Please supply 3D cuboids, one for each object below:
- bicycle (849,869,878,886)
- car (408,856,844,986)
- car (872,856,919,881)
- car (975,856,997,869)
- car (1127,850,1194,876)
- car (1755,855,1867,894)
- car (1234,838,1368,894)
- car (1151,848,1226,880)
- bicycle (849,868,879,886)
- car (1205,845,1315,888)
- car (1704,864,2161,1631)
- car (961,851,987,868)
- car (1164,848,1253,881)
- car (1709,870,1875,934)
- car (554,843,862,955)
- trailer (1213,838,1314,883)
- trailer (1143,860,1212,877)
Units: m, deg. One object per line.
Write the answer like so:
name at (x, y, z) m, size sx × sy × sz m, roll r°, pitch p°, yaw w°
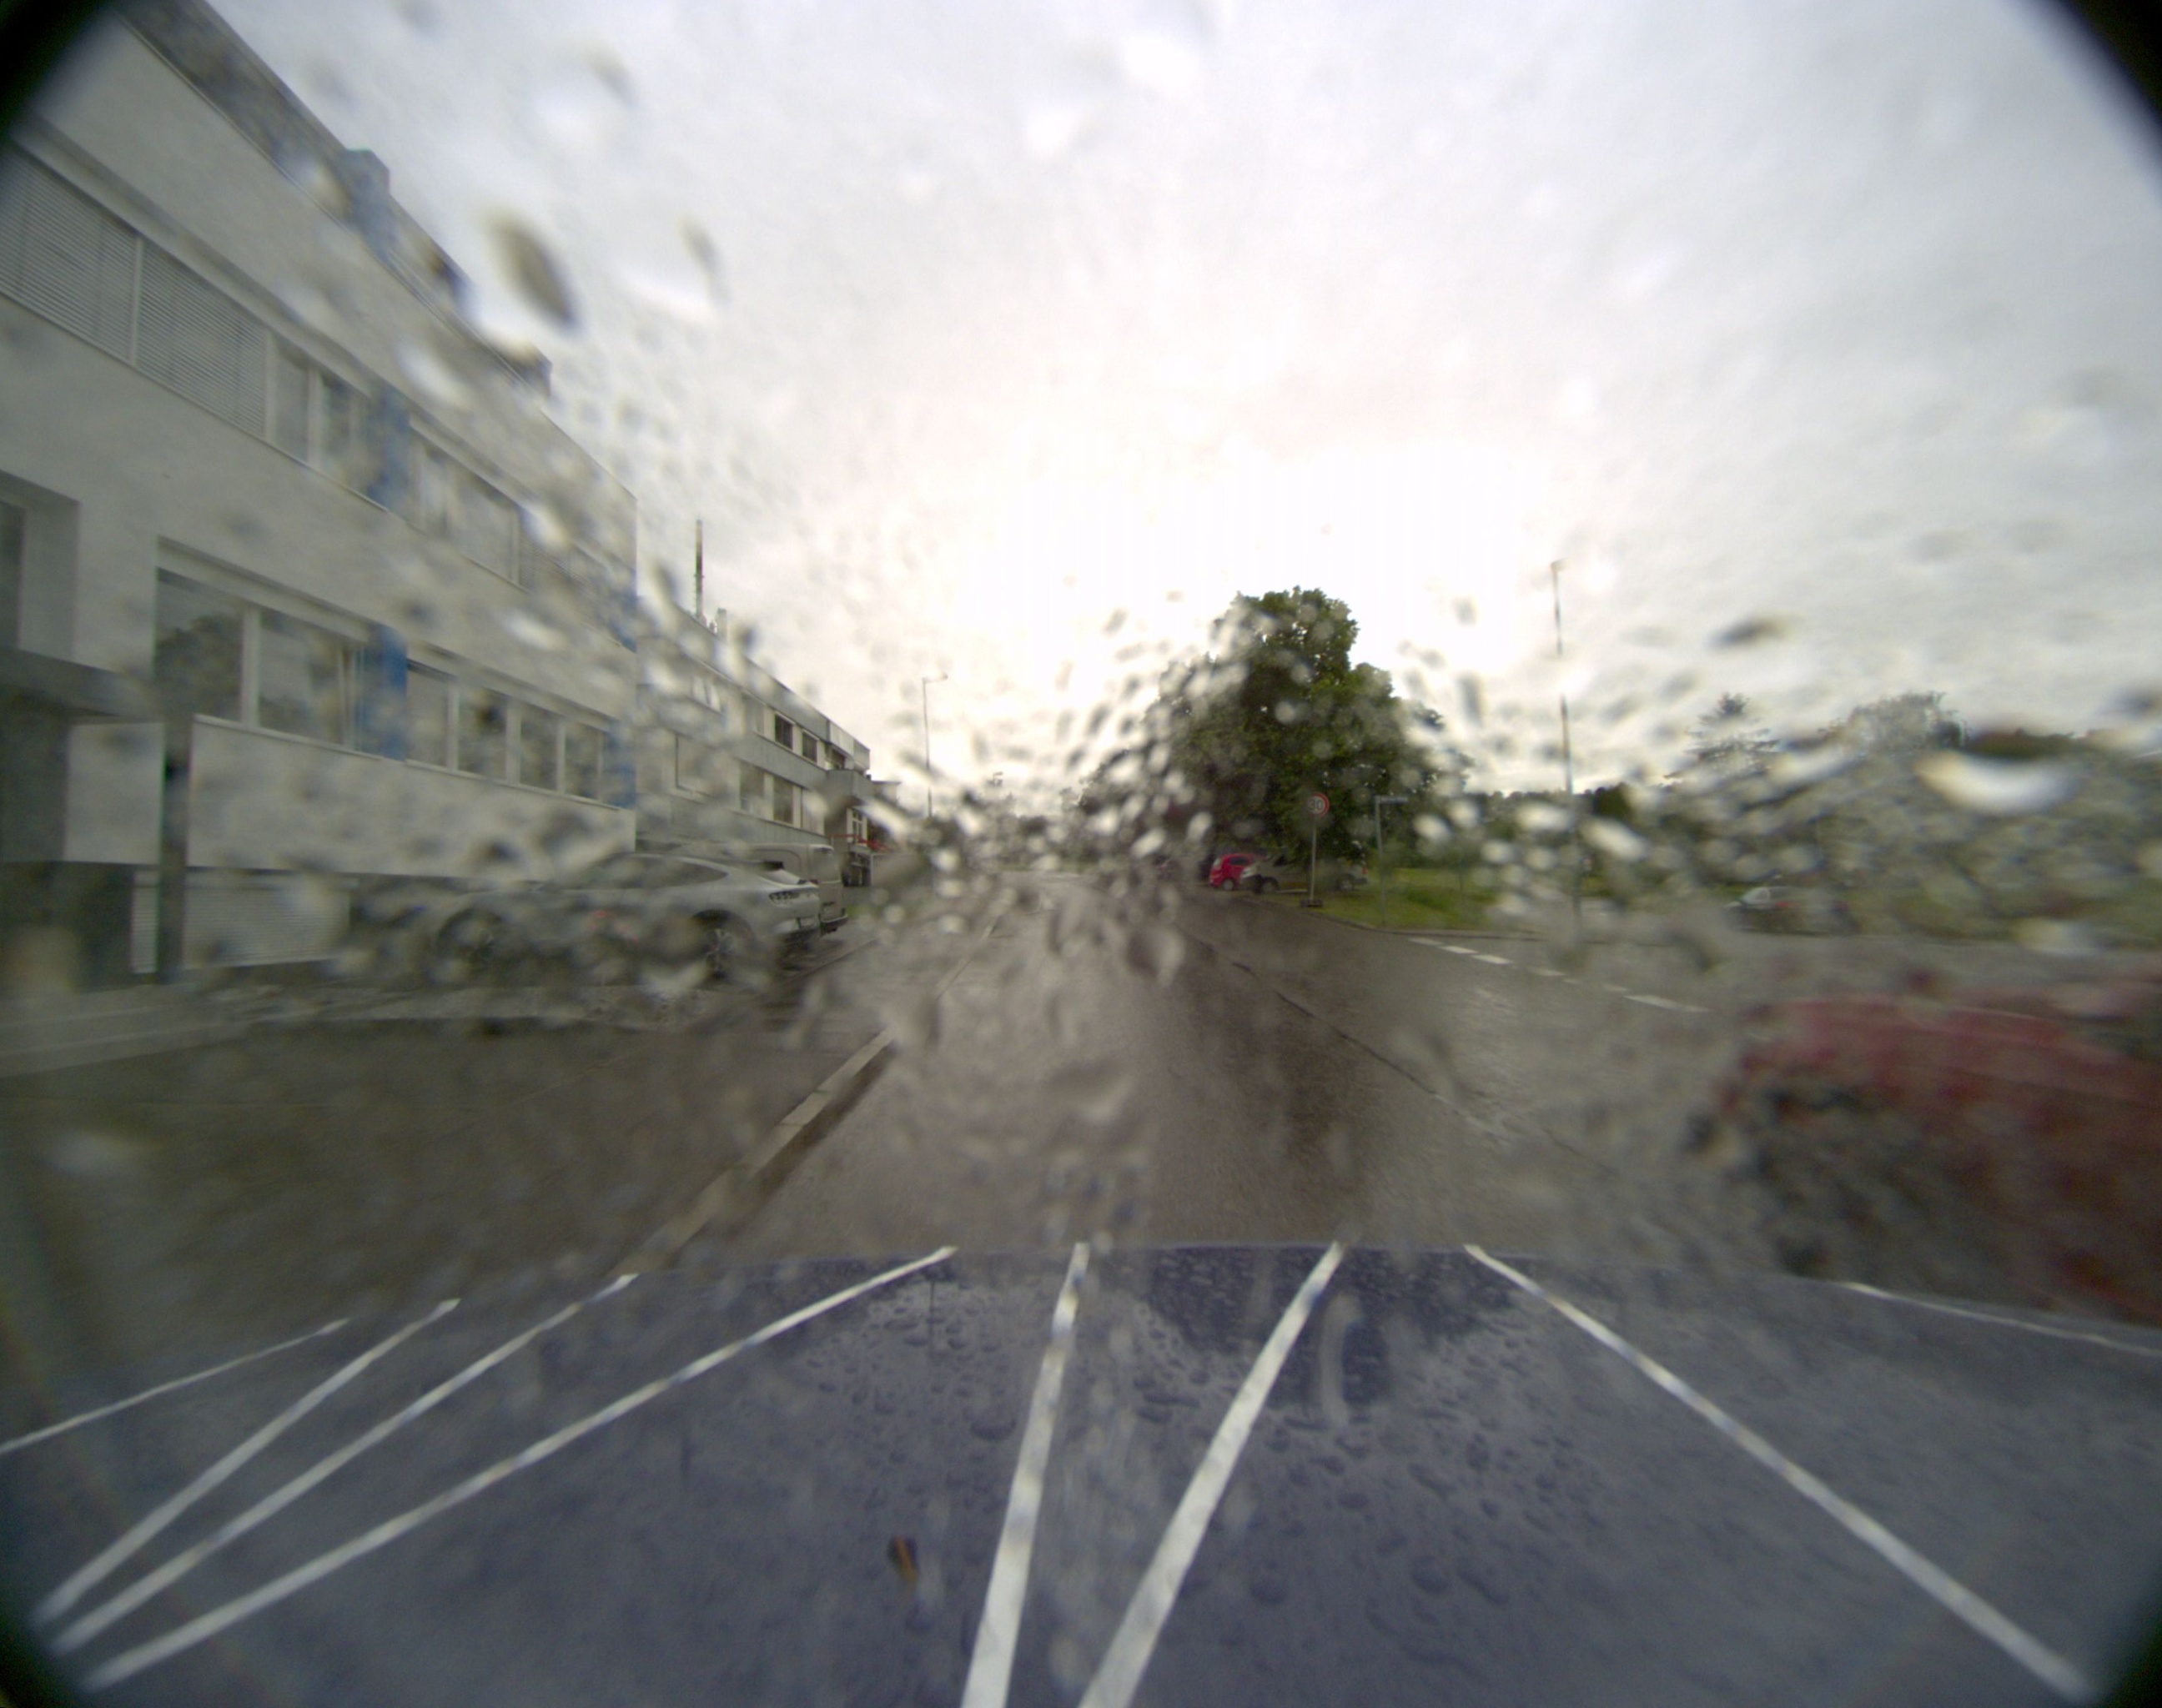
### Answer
bicycle at (-11.556, 1.245, 40.385) m, size 1.423 × 0.825 × 0.285 m, roll -1°, pitch 1°, yaw -24°
car at (-5.829, 0.824, 10.252) m, size 4.609 × 1.529 × 2.079 m, roll 1°, pitch 0°, yaw -1°
car at (-13.826, 1.014, 56.490) m, size 1.862 × 1.576 × 4.313 m, roll -1°, pitch 3°, yaw -36°
car at (-12.690, 1.117, 101.535) m, size 1.819 × 1.717 × 4.643 m, roll -1°, pitch 1°, yaw -21°
car at (5.566, 0.597, 53.446) m, size 4.381 × 1.712 × 2.043 m, roll -1°, pitch 1°, yaw -7°
car at (44.223, 1.219, 46.169) m, size 4.493 × 2.207 × 1.933 m, roll 1°, pitch 0°, yaw 19°
car at (7.847, 0.419, 27.407) m, size 4.310 × 1.895 × 1.862 m, roll -1°, pitch 1°, yaw 2°
car at (6.422, 0.572, 45.564) m, size 4.085 × 1.712 × 2.025 m, roll -3°, pitch 1°, yaw -2°
bicycle at (-11.442, 1.210, 40.107) m, size 1.473 × 0.897 × 0.285 m, roll -1°, pitch 1°, yaw -24°
car at (7.614, 0.490, 32.459) m, size 4.208 × 1.712 × 1.754 m, roll -1°, pitch 1°, yaw -6°
car at (3.029, 0.833, 0.746) m, size 1.751 × 1.500 × 3.935 m, roll -2°, pitch 1°, yaw 3°
car at (-15.070, 0.793, 107.057) m, size 2.057 × 2.317 × 5.396 m, roll -1°, pitch 0°, yaw -26°
car at (7.141, 0.577, 42.897) m, size 4.630 × 1.580 × 1.805 m, roll -3°, pitch 1°, yaw -3°
car at (21.242, 1.439, 22.969) m, size 1.996 × 1.742 × 4.393 m, roll 0°, pitch -4°, yaw 19°
car at (-6.319, 0.726, 13.337) m, size 4.352 × 1.762 × 2.088 m, roll -1°, pitch 0°, yaw -2°
trailer at (8.465, 0.286, 35.368) m, size 4.224 × 1.973 × 1.773 m, roll -1°, pitch 1°, yaw -3°
trailer at (6.076, 0.913, 48.203) m, size 3.953 × 0.955 × 1.999 m, roll -2°, pitch 0°, yaw -5°
